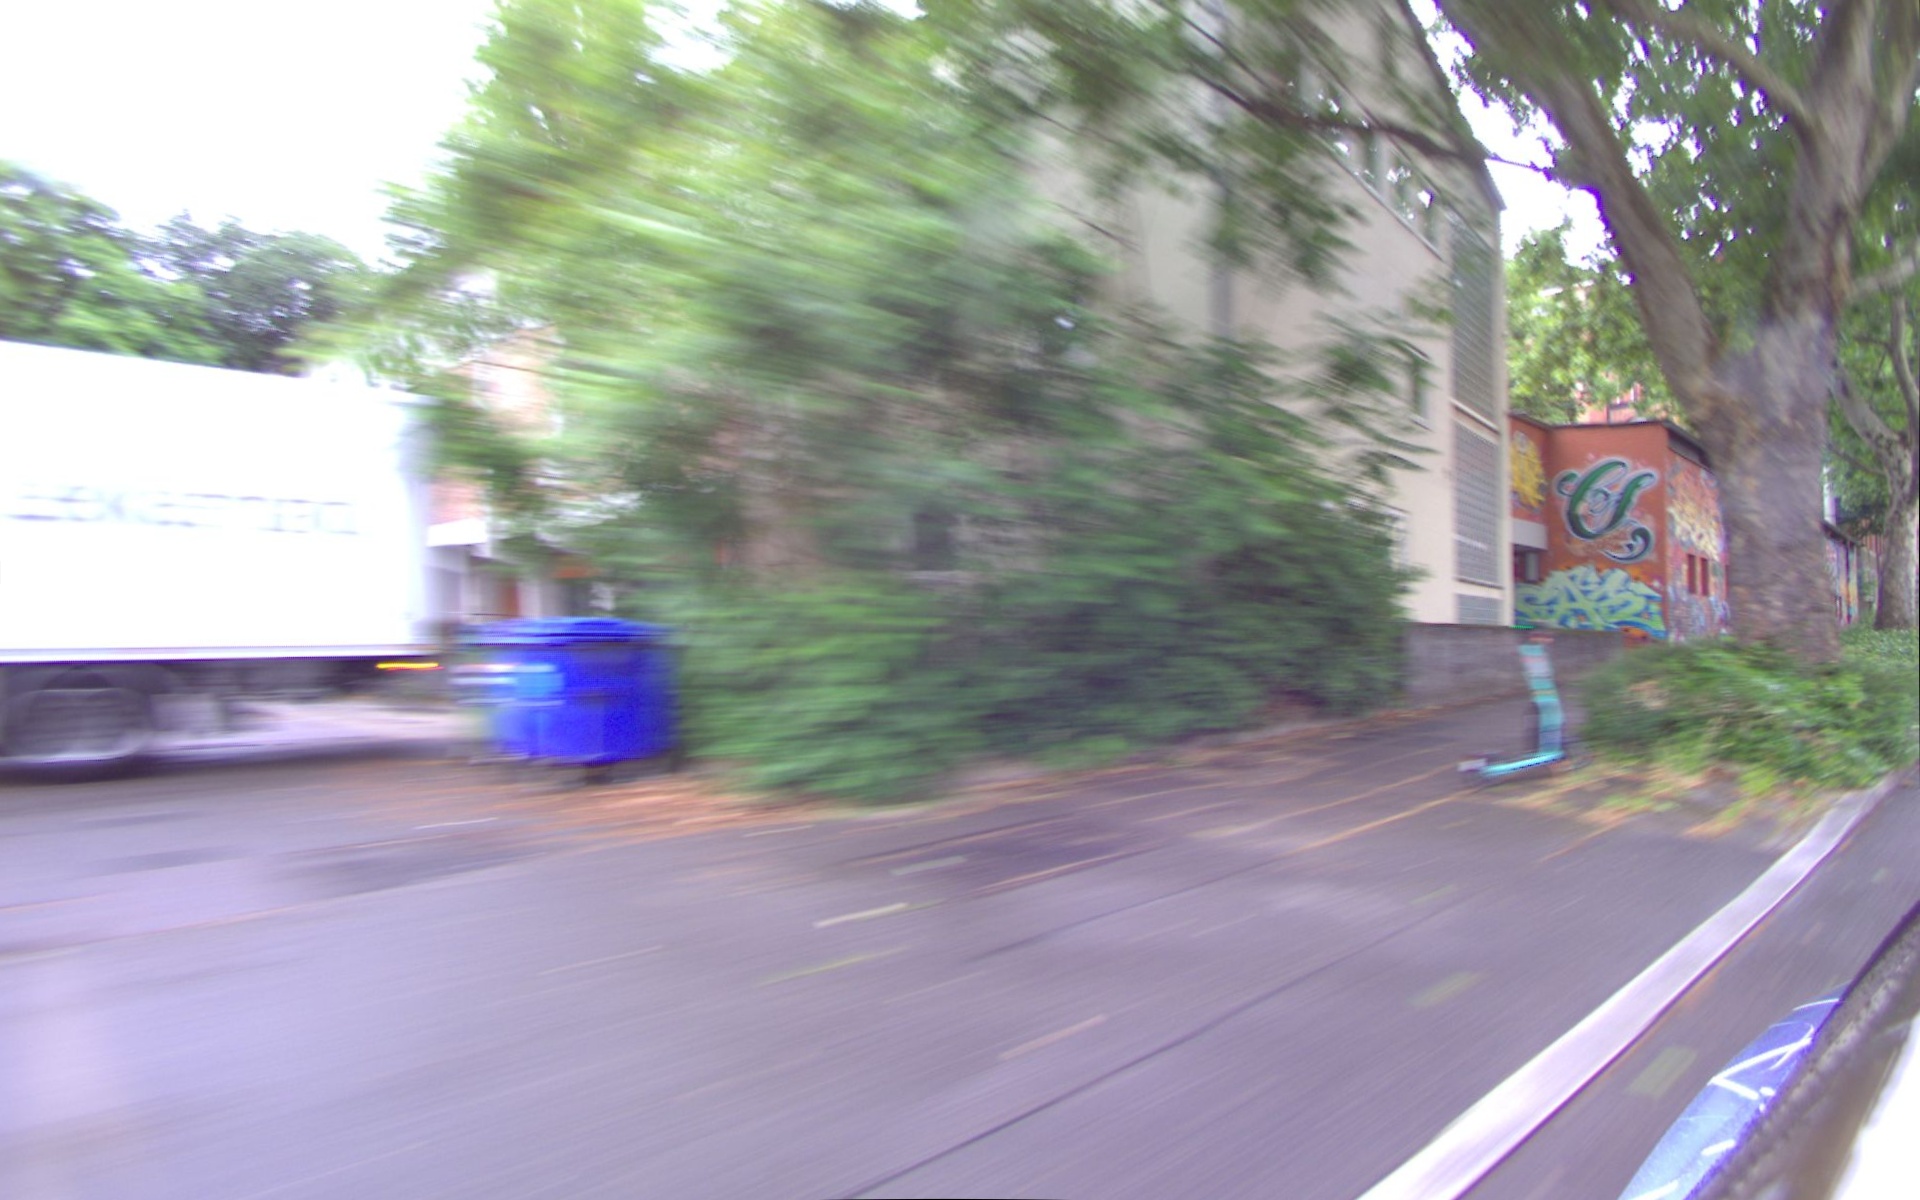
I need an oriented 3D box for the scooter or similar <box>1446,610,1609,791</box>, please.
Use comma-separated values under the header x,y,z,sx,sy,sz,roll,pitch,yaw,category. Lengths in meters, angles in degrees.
x,y,z,sx,sy,sz,roll,pitch,yaw,category
4.317,0.719,7.677,1.336,1.207,0.401,-3,2,-28,scooter or similar
